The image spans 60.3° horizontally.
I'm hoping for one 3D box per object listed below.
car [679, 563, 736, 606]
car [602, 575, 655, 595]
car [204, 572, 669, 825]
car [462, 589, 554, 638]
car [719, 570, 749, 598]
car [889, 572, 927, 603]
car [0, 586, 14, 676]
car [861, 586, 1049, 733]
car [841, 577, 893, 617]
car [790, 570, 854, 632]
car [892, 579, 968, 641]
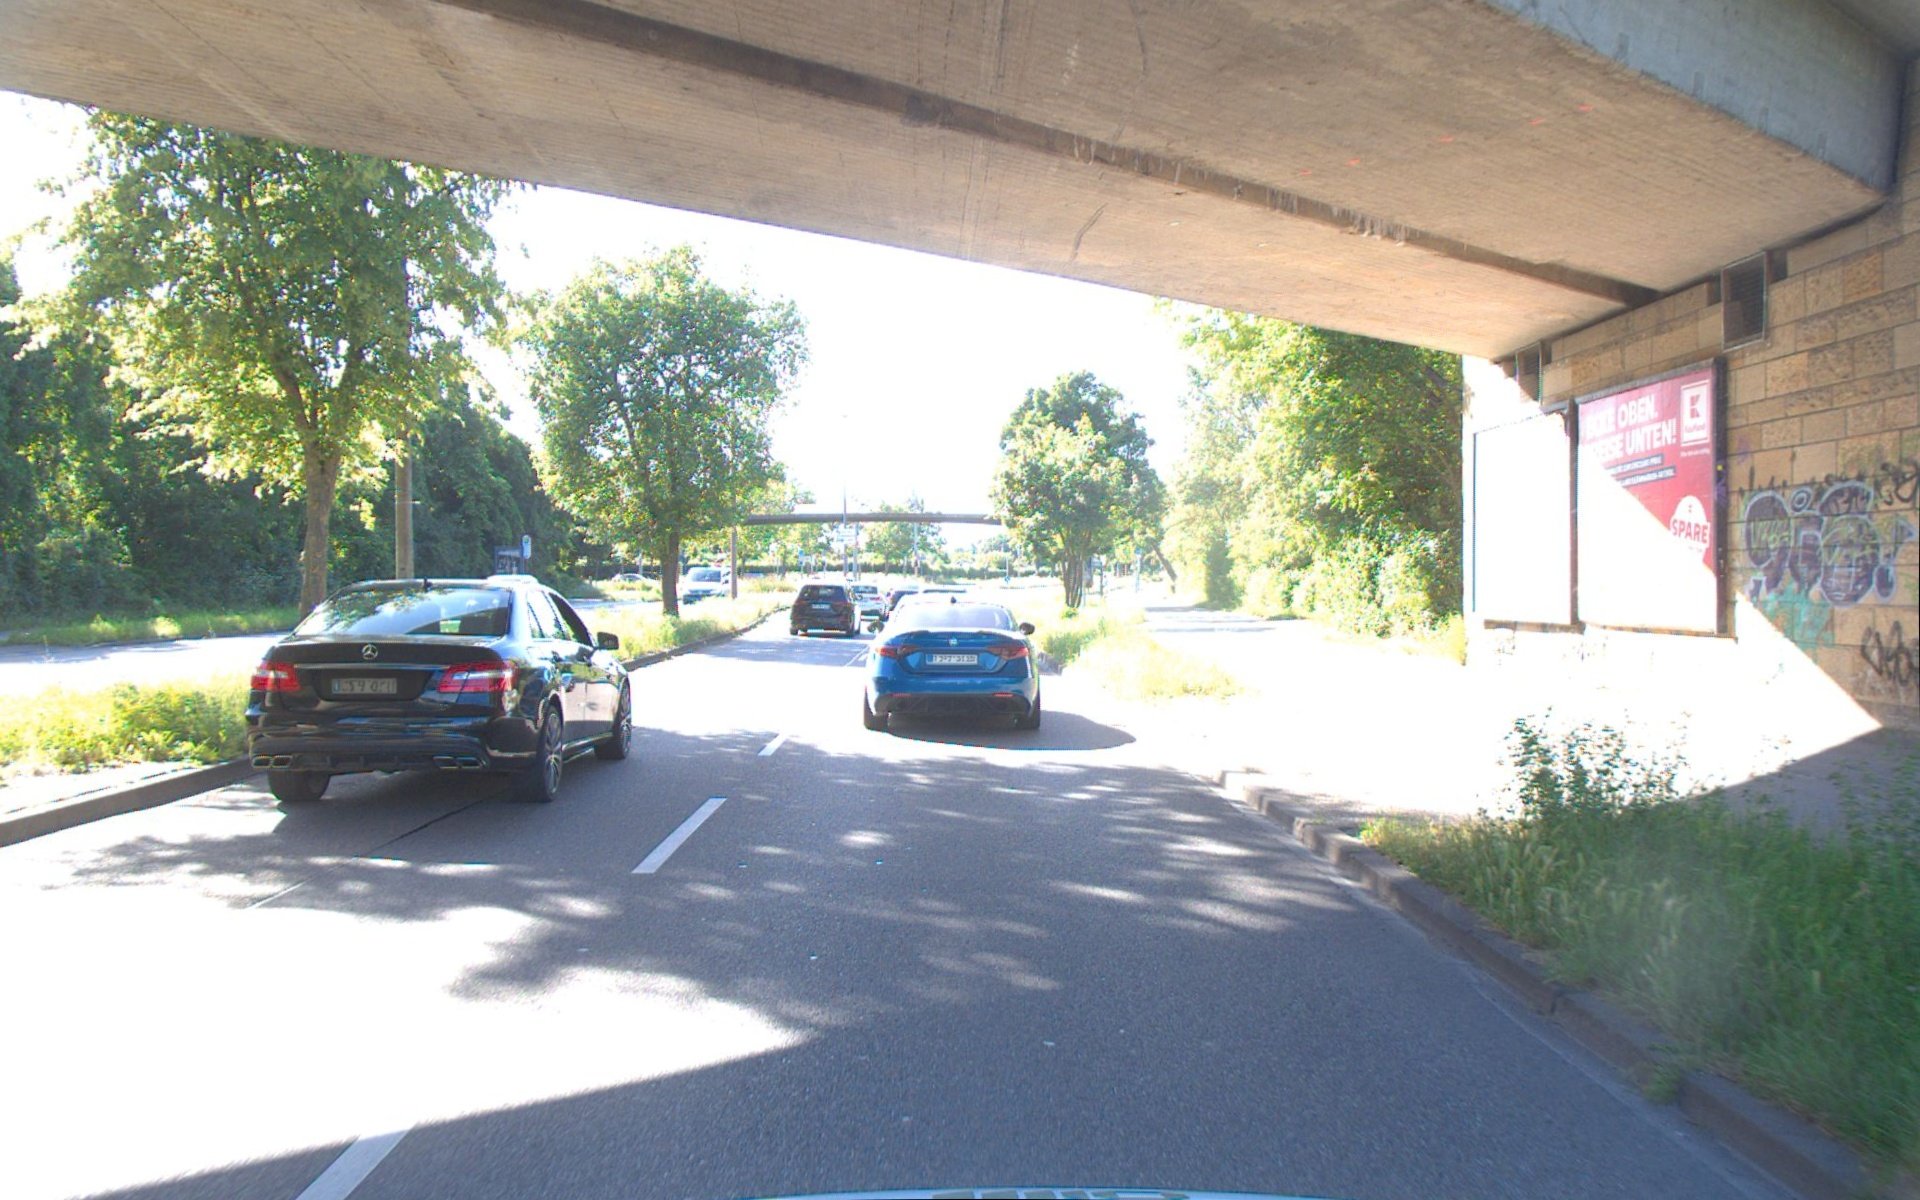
[{"bbox_3d":[-11.886,-0.724,78.210,1.953,1.963,5.244,0,0,-1],"label":"car"},{"bbox_3d":[-29.518,-1.347,147.371,4.217,1.679,2.001,1,0,19],"label":"car"},{"bbox_3d":[-3.557,0.565,12.329,1.919,1.508,4.918,0,1,0],"label":"car"},{"bbox_3d":[-15.759,0.443,57.905,1.942,1.579,4.592,1,0,0],"label":"car"},{"bbox_3d":[-17.199,-1.239,126.239,1.954,2.049,4.578,1,0,-4],"label":"car"},{"bbox_3d":[-2.574,-0.625,82.771,1.845,1.479,4.525,1,0,-1],"label":"car"},{"bbox_3d":[-16.755,0.537,25.905,1.805,1.487,3.638,-1,0,-1],"label":"car"},{"bbox_3d":[-0.081,0.580,18.516,1.845,1.431,4.223,1,0,-1],"label":"car"},{"bbox_3d":[-3.607,-0.120,64.999,1.845,1.479,4.525,1,0,-1],"label":"car"},{"bbox_3d":[-3.823,0.023,46.371,1.674,1.626,4.221,1,0,-4],"label":"car"},{"bbox_3d":[-0.774,0.237,42.782,1.845,1.479,4.525,1,0,-1],"label":"car"}]
